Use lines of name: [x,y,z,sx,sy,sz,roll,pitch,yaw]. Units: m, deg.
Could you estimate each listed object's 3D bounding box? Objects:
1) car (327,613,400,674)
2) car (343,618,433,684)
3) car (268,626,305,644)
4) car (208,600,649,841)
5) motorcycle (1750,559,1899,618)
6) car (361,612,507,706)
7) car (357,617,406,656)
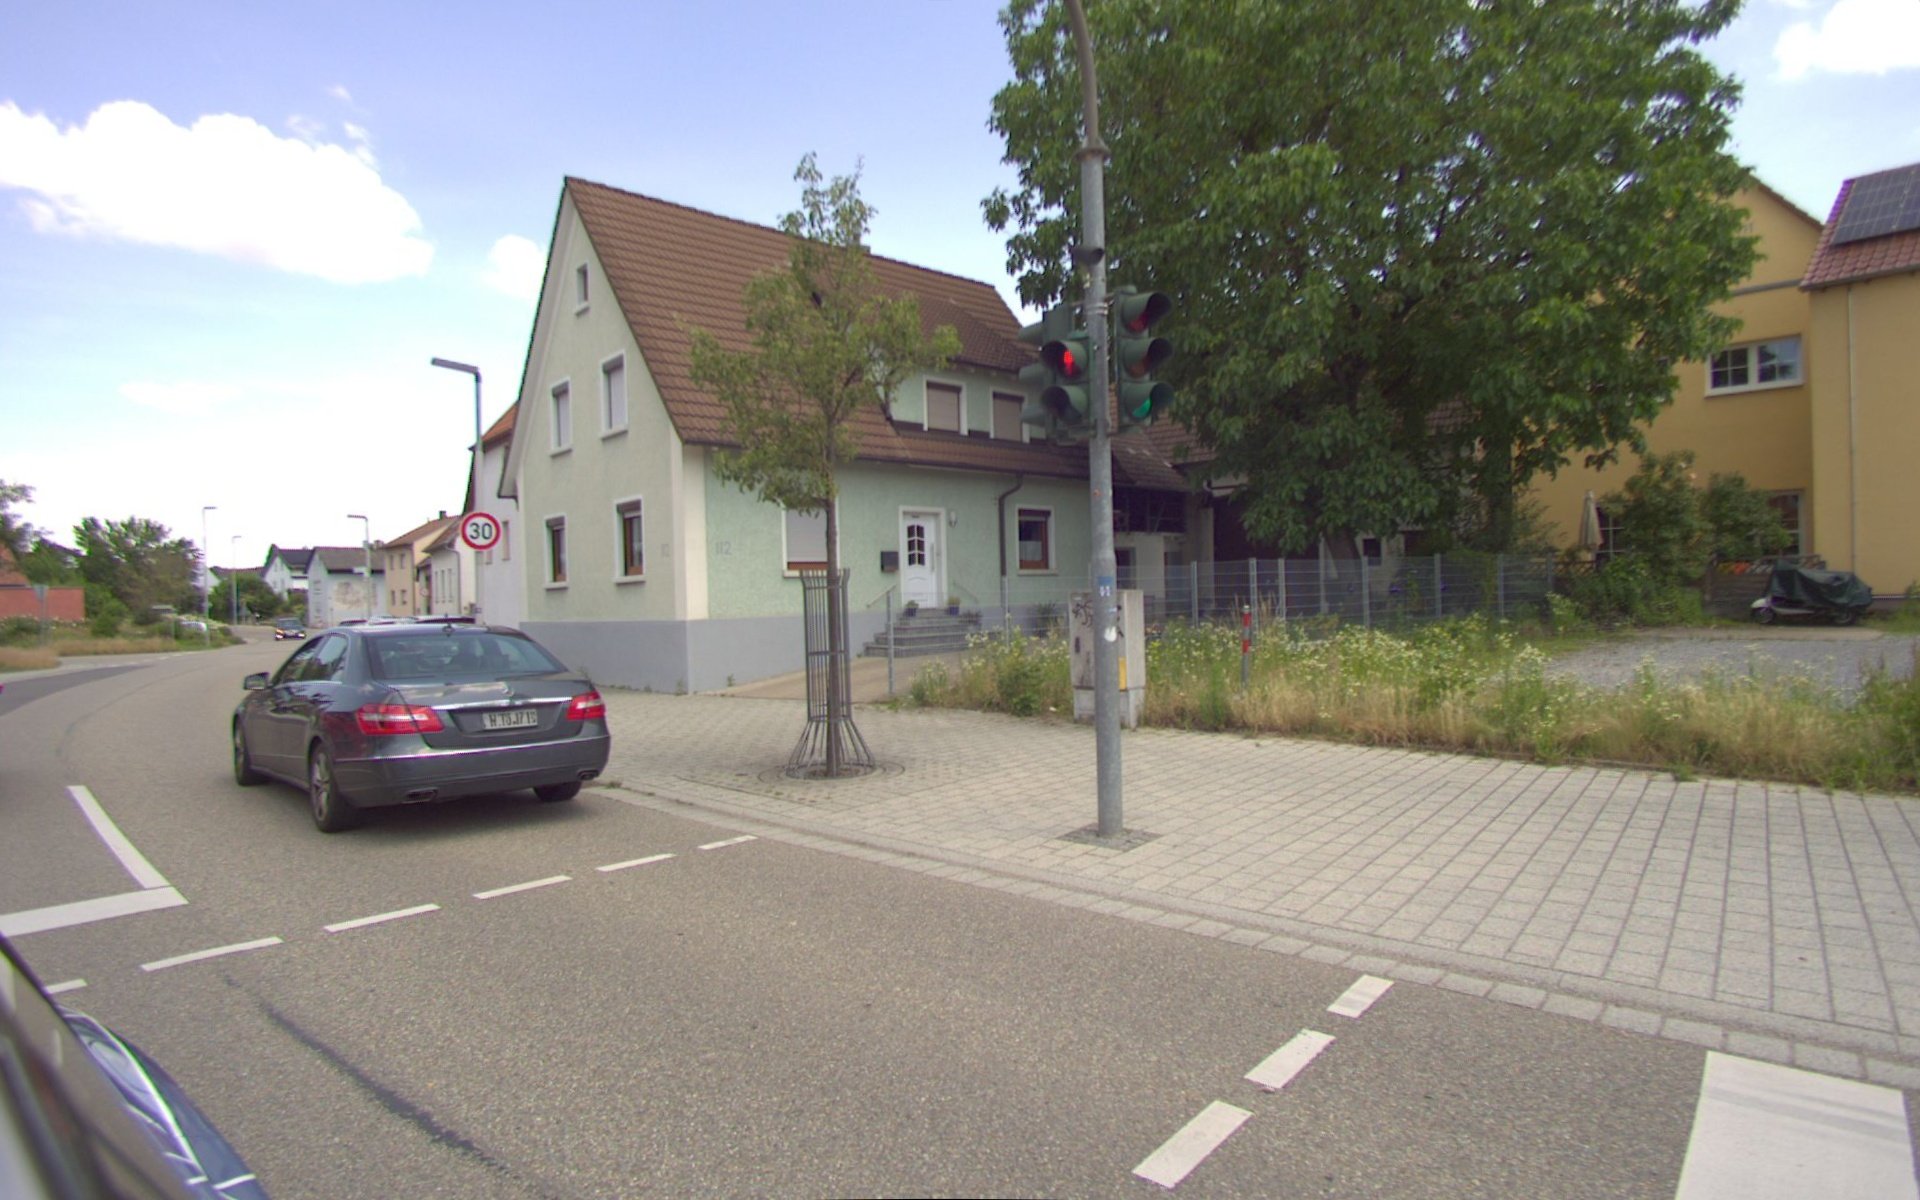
car: [-17.009,1.170,28.795,1.633,1.574,3.702,-1,0,-33]
car: [-13.698,1.149,24.152,1.633,1.406,3.702,-1,0,-33]
car: [-48.536,2.511,72.918,1.968,1.198,4.008,0,-1,-37]
car: [-4.594,0.795,8.376,4.596,1.446,1.863,-2,-2,44]
motorcycle: [16.218,-0.207,19.032,2.066,1.028,0.773,-2,0,43]
car: [-9.914,0.999,18.893,1.710,1.502,4.510,-1,0,-37]
car: [-24.892,1.535,43.648,1.632,1.586,3.703,-1,0,-27]
